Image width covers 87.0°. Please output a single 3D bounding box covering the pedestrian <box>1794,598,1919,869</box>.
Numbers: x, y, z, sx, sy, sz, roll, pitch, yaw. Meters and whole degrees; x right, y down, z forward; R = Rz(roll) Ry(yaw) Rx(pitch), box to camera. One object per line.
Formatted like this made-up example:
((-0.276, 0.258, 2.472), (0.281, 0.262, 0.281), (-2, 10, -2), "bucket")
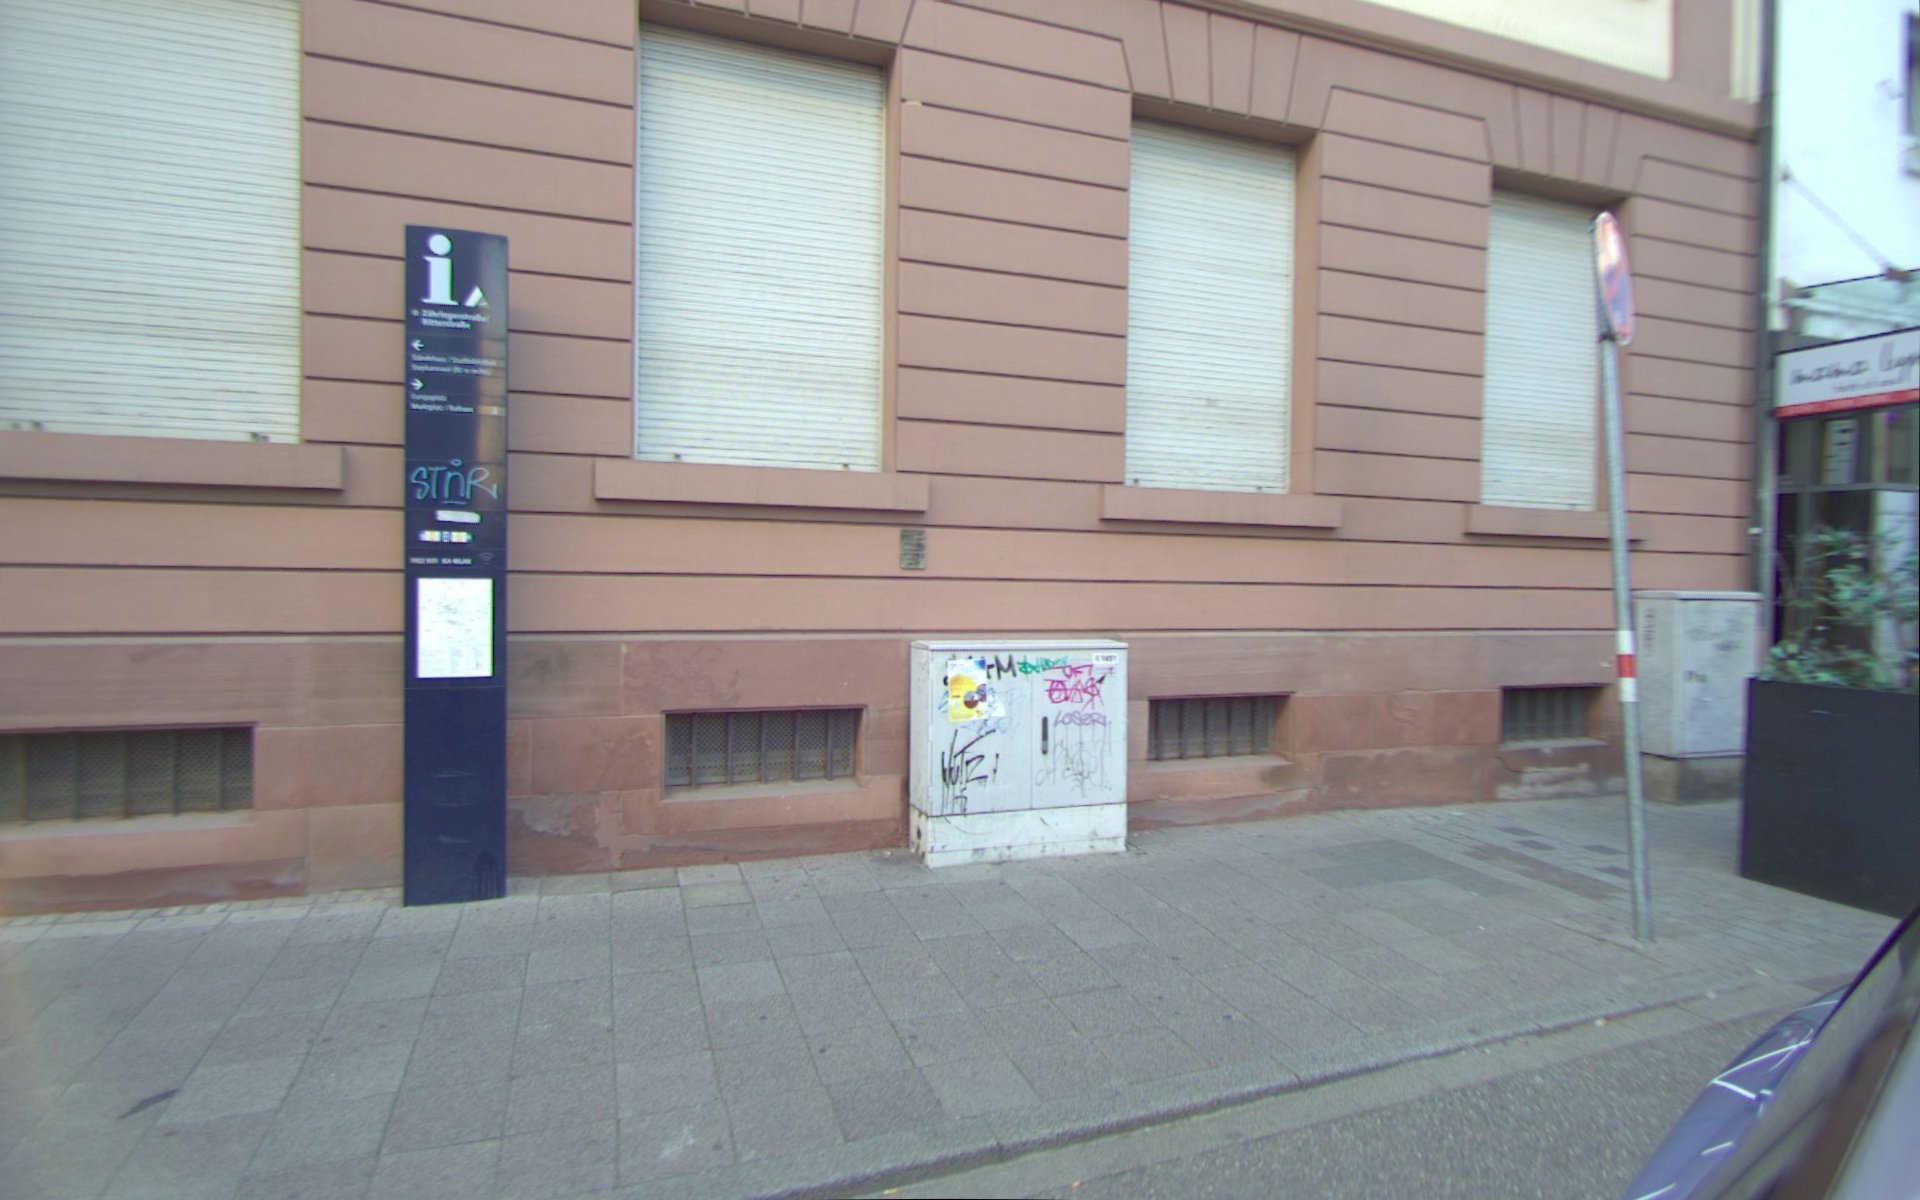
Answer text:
((4.672, 0.658, 5.265), (0.485, 1.322, 0.363), (0, 1, -33), "pedestrian")
